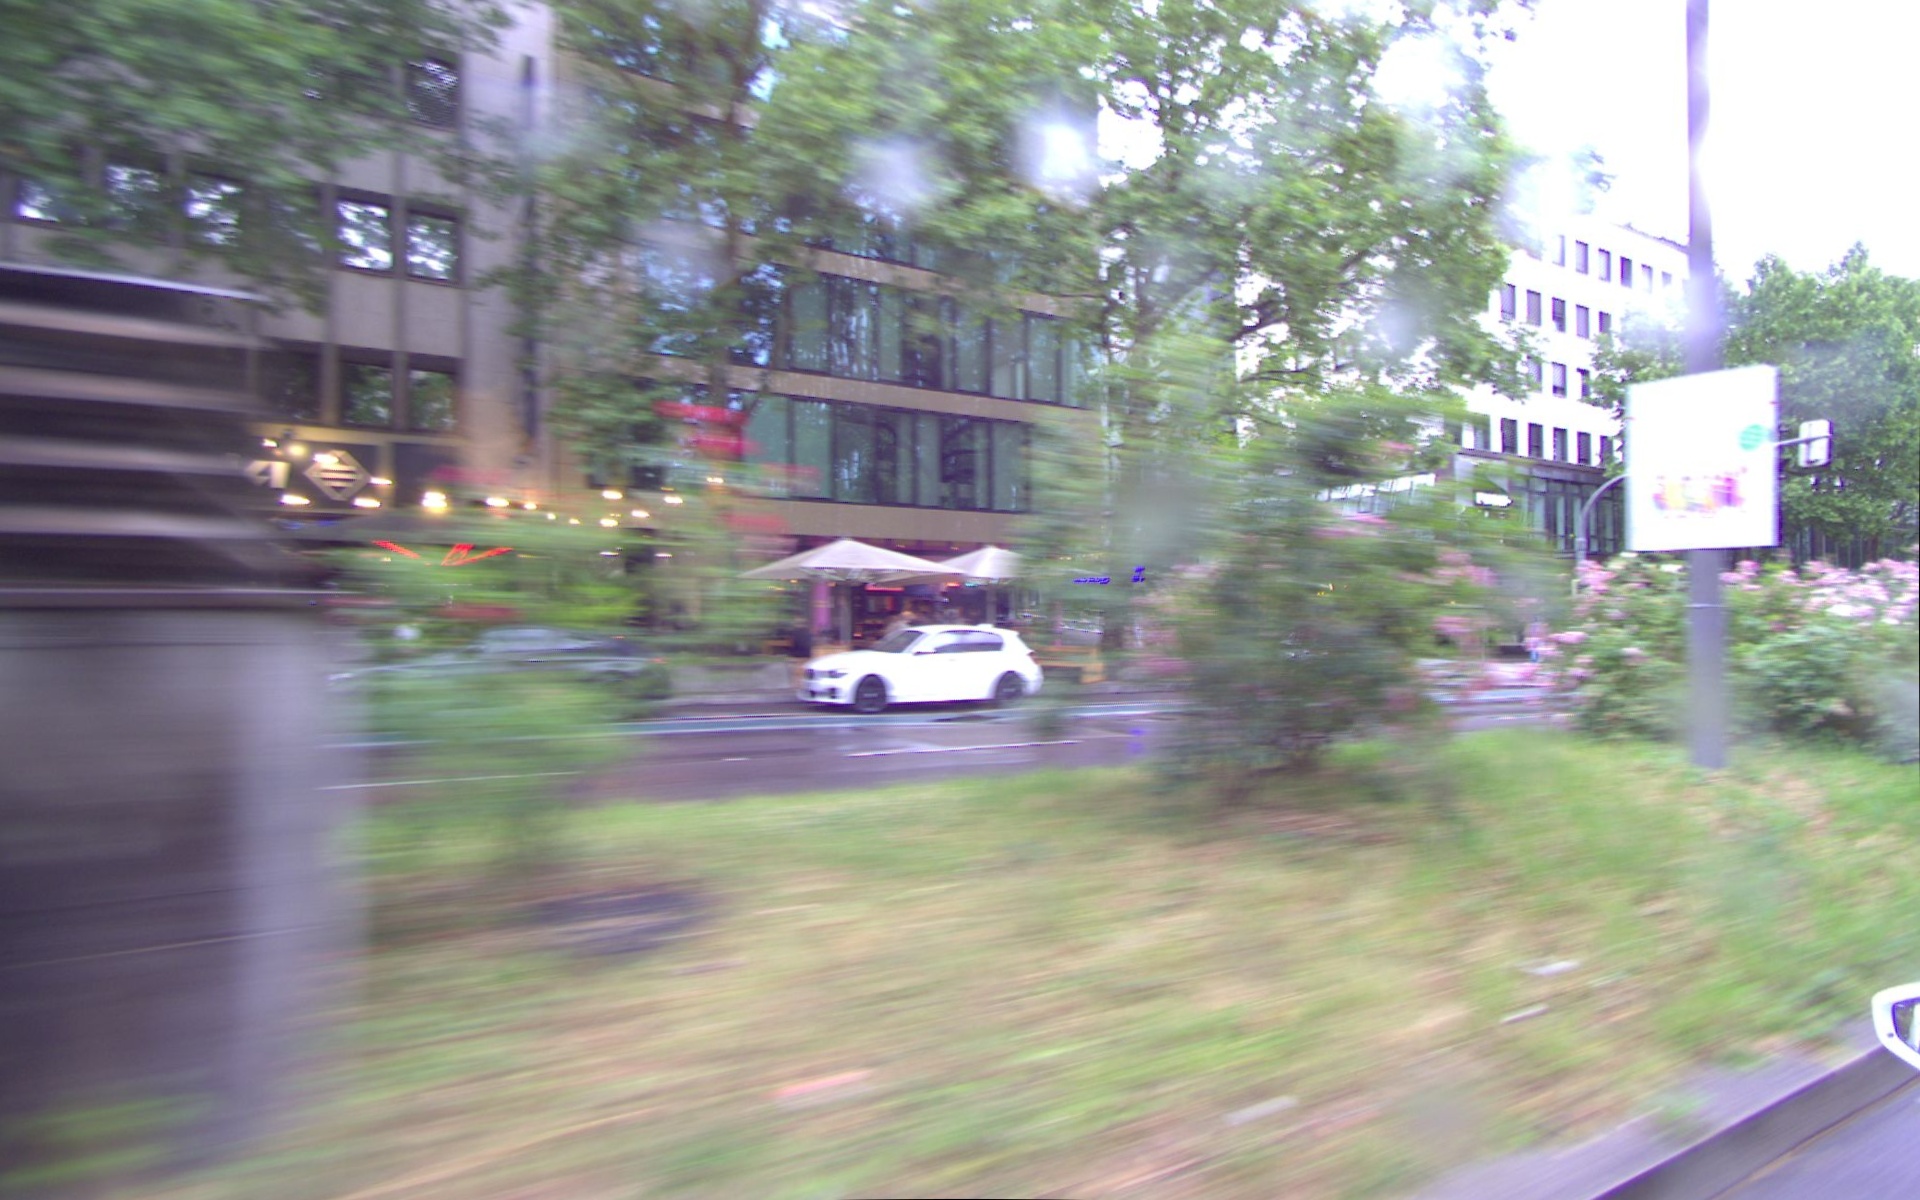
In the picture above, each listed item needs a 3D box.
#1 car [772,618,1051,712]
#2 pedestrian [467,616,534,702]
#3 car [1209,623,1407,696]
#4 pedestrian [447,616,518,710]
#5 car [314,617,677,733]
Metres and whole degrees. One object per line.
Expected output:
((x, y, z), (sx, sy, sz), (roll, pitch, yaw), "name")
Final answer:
((-0.818, 1.068, 17.623), (4.486, 1.388, 1.984), (1, 1, -30), "car")
((-7.812, 0.985, 17.063), (0.923, 1.398, 0.759), (1, -1, -33), "pedestrian")
((8.041, 1.313, 23.089), (4.468, 1.529, 1.983), (1, -2, -33), "car")
((-8.019, 1.040, 16.877), (0.963, 1.508, 0.824), (1, -1, -33), "pedestrian")
((-6.490, 0.983, 14.306), (4.431, 1.413, 1.816), (1, -1, -30), "car")
